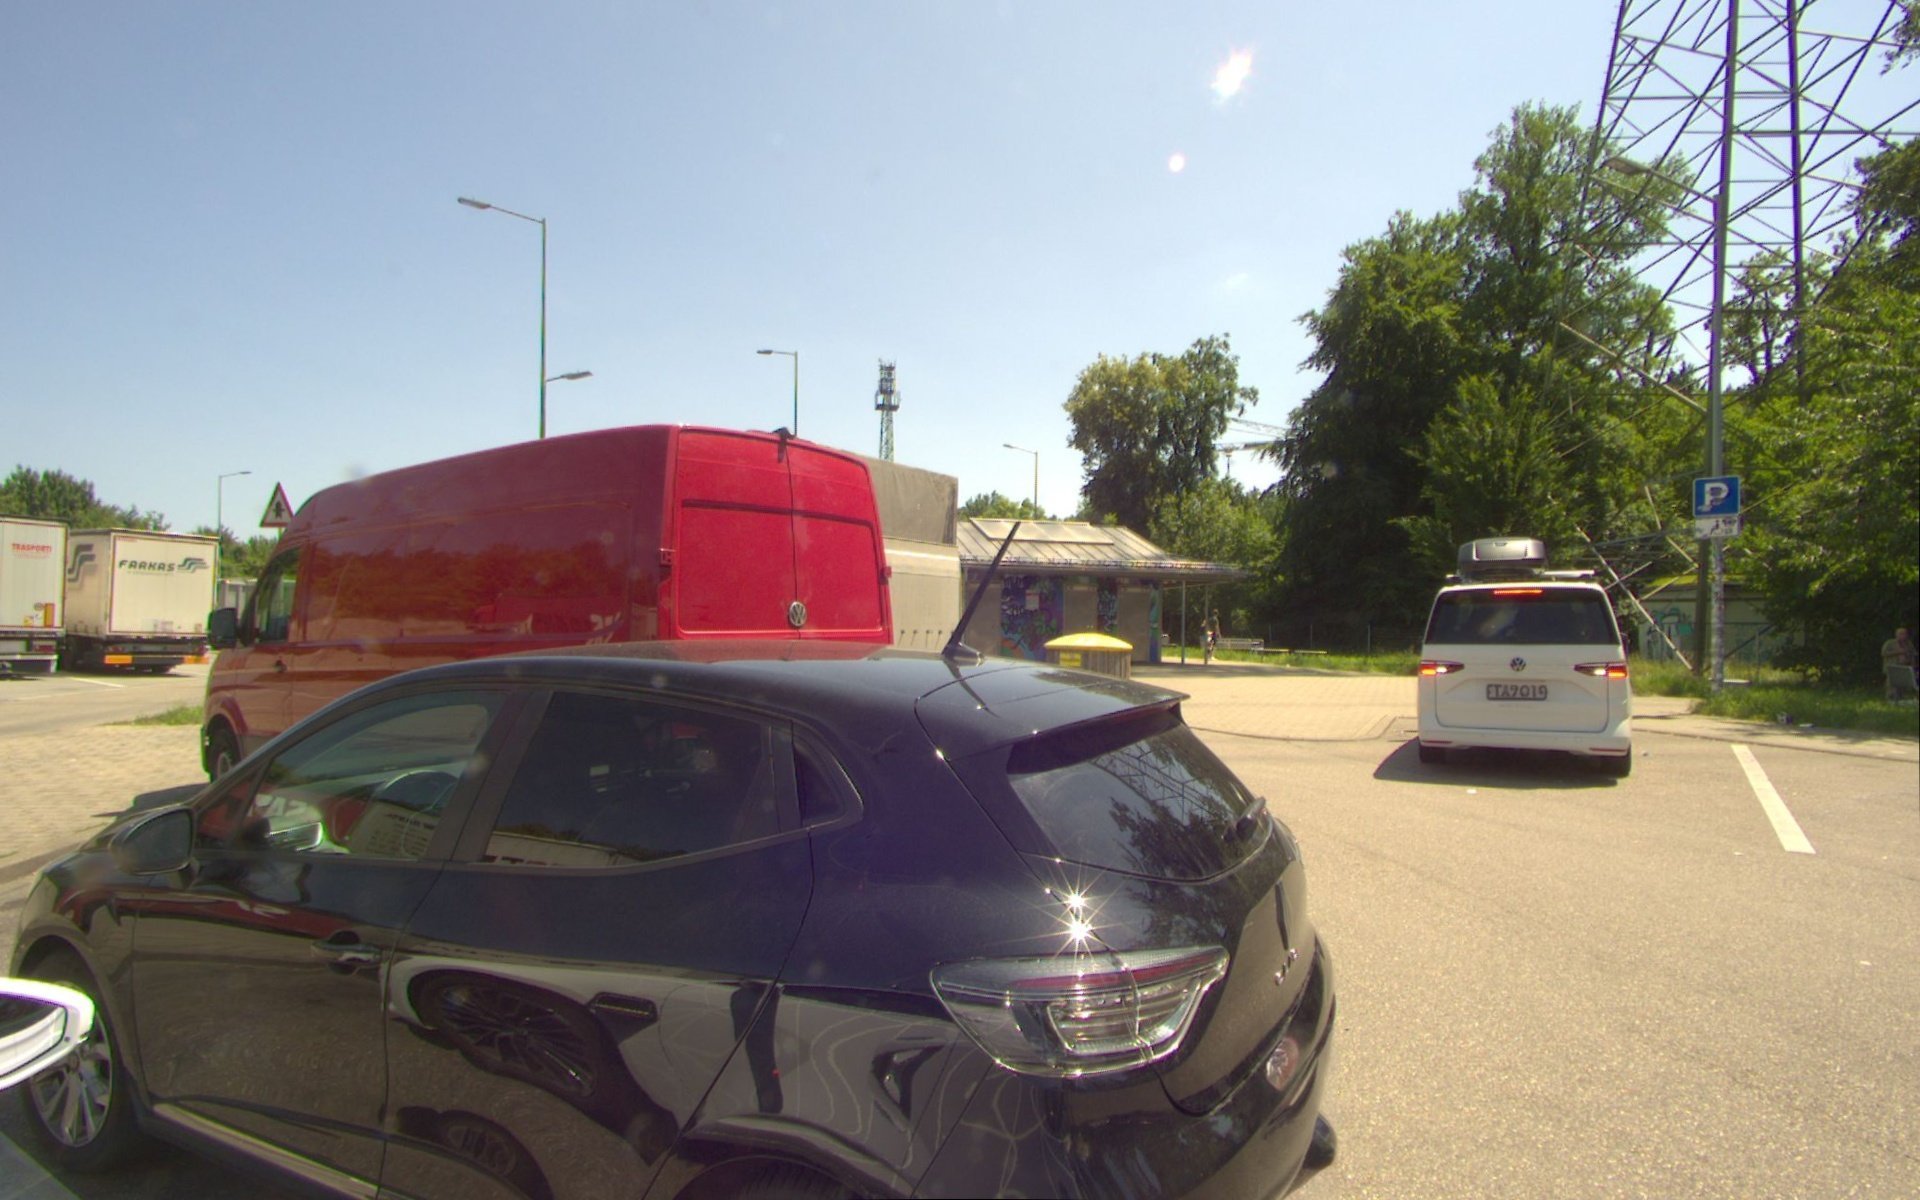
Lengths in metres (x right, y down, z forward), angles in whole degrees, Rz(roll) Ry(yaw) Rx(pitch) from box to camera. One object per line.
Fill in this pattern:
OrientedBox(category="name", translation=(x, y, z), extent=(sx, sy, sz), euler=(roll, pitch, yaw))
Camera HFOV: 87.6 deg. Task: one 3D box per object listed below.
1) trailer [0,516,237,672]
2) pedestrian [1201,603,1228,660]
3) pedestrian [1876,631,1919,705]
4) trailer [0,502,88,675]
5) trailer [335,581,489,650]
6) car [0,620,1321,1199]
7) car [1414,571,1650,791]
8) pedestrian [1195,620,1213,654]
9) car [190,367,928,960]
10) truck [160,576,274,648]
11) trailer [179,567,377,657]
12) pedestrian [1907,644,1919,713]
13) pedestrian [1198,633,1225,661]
OrientedBox(category="trailer", translation=(-27.640, -0.186, 31.631), extent=(13.523, 4.185, 2.835), euler=(1, -2, 33))
OrientedBox(category="pedestrian", translation=(9.189, 1.137, 36.184), extent=(0.763, 2.067, 0.646), euler=(0, -1, -4))
OrientedBox(category="pedestrian", translation=(18.644, 1.336, 19.798), extent=(0.660, 1.422, 0.647), euler=(-1, -1, 33))
OrientedBox(category="trailer", translation=(-28.950, -0.366, 28.151), extent=(13.523, 4.185, 2.835), euler=(1, -2, 33))
OrientedBox(category="trailer", translation=(-36.019, 0.925, 65.437), extent=(13.530, 4.101, 2.834), euler=(1, -2, 34))
OrientedBox(category="car", translation=(-1.051, 0.840, 2.899), extent=(3.757, 1.501, 1.736), euler=(0, -1, 27))
OrientedBox(category="car", translation=(6.217, 0.767, 11.276), extent=(1.881, 1.937, 4.549), euler=(-1, -1, 26))
OrientedBox(category="pedestrian", translation=(11.164, 1.685, 45.857), extent=(0.634, 1.547, 0.565), euler=(0, -1, -13))
OrientedBox(category="car", translation=(-3.341, 0.316, 7.351), extent=(6.310, 2.731, 2.060), euler=(0, -1, 37))
OrientedBox(category="truck", translation=(-37.669, 0.575, 50.744), extent=(5.405, 3.407, 2.847), euler=(1, -2, 34))
OrientedBox(category="trailer", translation=(-32.361, 0.491, 47.143), extent=(13.530, 3.764, 2.834), euler=(1, -2, 34))
OrientedBox(category="pedestrian", translation=(17.205, 1.368, 17.463), extent=(0.876, 1.192, 0.666), euler=(-1, -2, 32))
OrientedBox(category="pedestrian", translation=(8.919, 1.668, 35.552), extent=(0.763, 0.960, 0.646), euler=(0, -1, -4))
